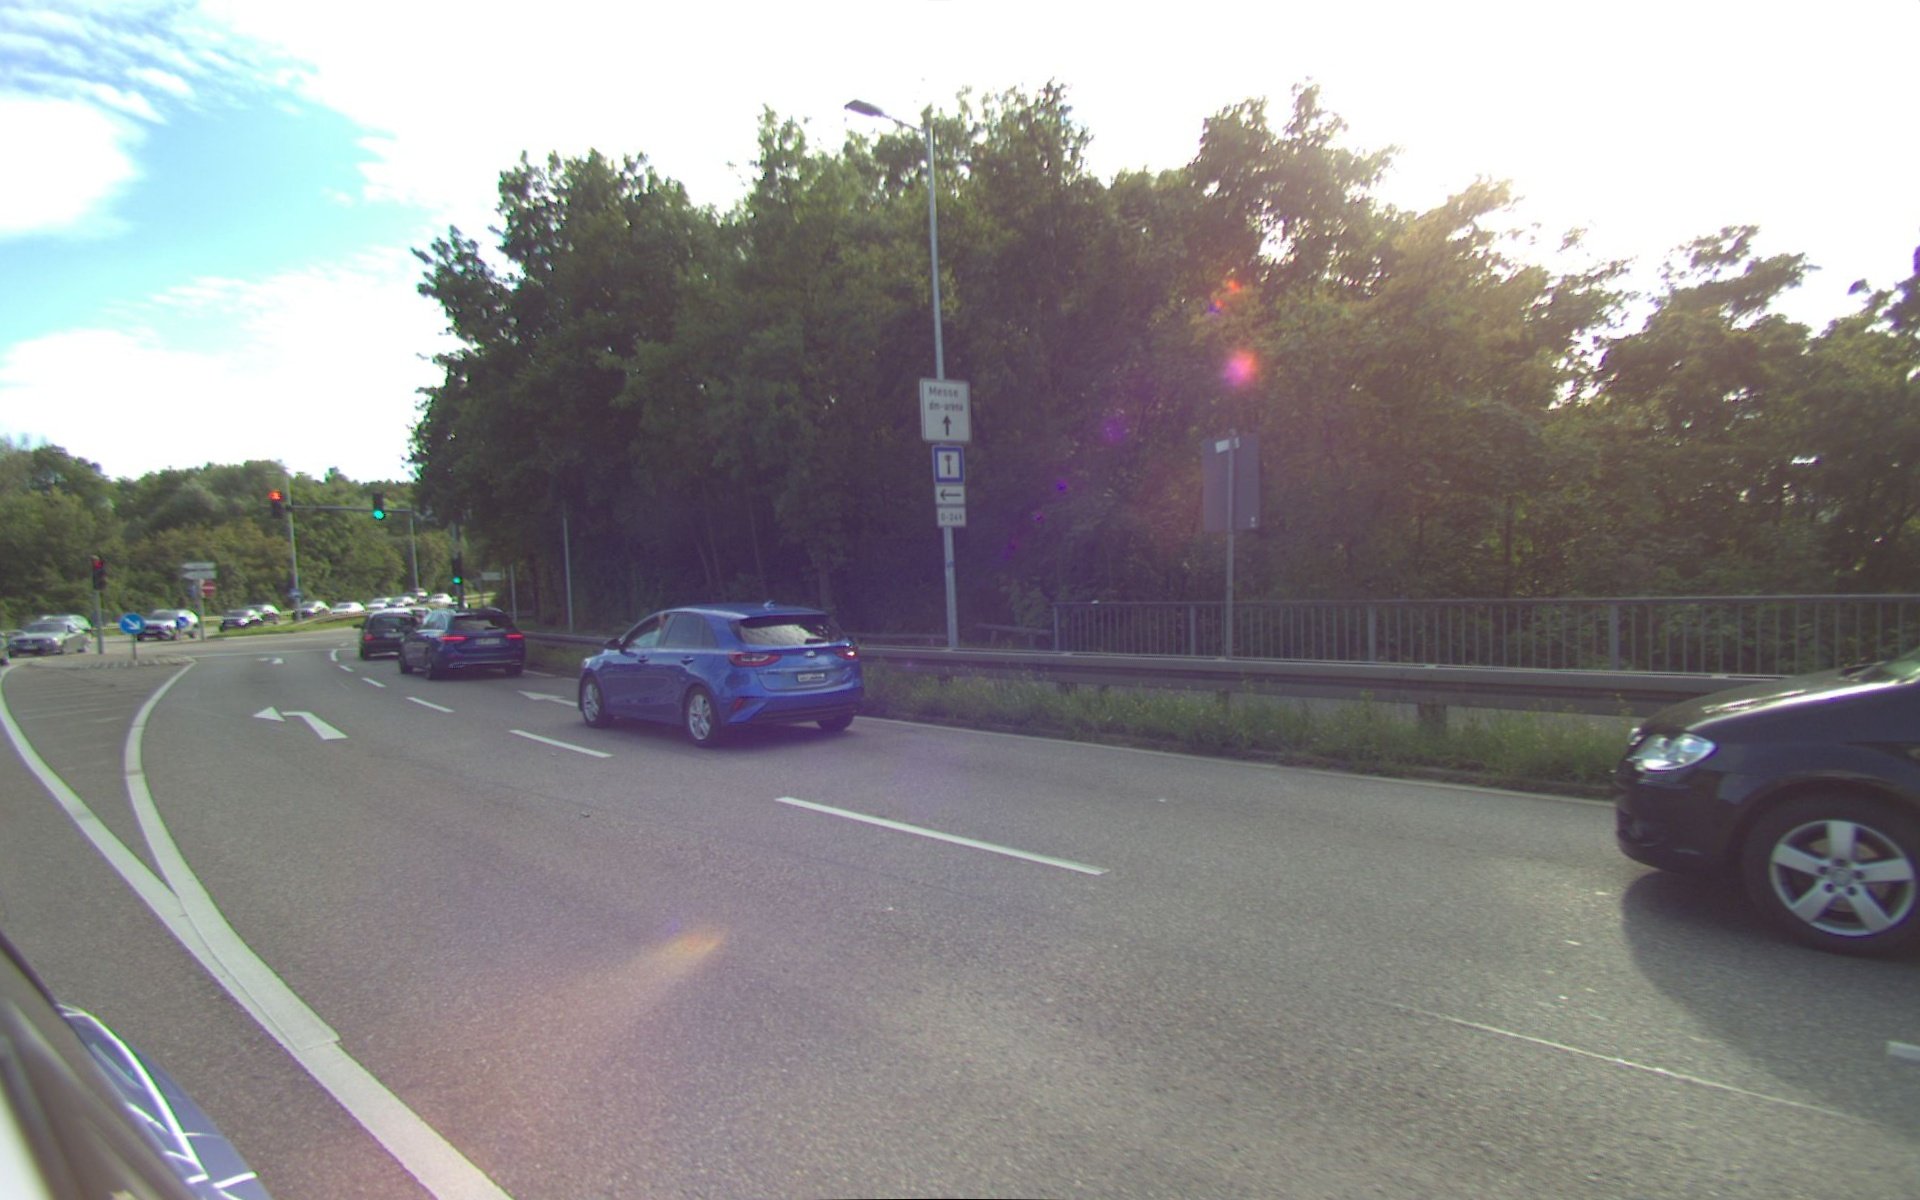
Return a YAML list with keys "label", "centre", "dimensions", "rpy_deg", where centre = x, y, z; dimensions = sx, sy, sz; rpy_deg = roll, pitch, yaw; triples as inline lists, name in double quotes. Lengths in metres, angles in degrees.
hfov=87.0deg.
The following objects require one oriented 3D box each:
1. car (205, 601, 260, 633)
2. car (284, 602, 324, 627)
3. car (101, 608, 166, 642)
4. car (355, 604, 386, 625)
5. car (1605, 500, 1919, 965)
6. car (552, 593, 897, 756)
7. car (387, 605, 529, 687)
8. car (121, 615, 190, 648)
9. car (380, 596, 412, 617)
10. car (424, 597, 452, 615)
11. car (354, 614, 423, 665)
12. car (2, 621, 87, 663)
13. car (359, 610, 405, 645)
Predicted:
- label: "car"
  centre: [-48.812, 1.125, 67.982]
  dimensions: [1.965, 2.029, 4.287]
  rpy_deg: [-2, 1, -22]
- label: "car"
  centre: [-57.426, 1.226, 88.628]
  dimensions: [1.966, 2.029, 4.013]
  rpy_deg: [-2, 1, -19]
- label: "car"
  centre: [-52.659, 1.572, 64.567]
  dimensions: [1.965, 2.029, 4.013]
  rpy_deg: [-2, 1, -20]
- label: "car"
  centre: [-60.150, 1.440, 103.348]
  dimensions: [1.966, 2.029, 4.013]
  rpy_deg: [-2, 1, -19]
- label: "car"
  centre: [4.955, 0.431, 3.403]
  dimensions: [4.452, 1.667, 1.727]
  rpy_deg: [-2, 0, 43]
- label: "car"
  centre: [-2.842, 0.719, 11.499]
  dimensions: [1.870, 1.458, 4.365]
  rpy_deg: [-2, 0, -43]
- label: "car"
  centre: [-10.989, 0.924, 21.967]
  dimensions: [1.791, 1.531, 4.774]
  rpy_deg: [-2, 0, -38]
- label: "car"
  centre: [-44.699, 1.719, 56.345]
  dimensions: [1.965, 1.612, 4.295]
  rpy_deg: [-2, 1, -24]
- label: "car"
  centre: [-55.550, 0.633, 99.688]
  dimensions: [1.966, 2.029, 4.012]
  rpy_deg: [-2, 1, -18]
- label: "car"
  centre: [-62.594, 0.714, 121.368]
  dimensions: [1.967, 2.029, 4.010]
  rpy_deg: [-2, 1, -13]
- label: "car"
  centre: [-17.122, 1.141, 30.238]
  dimensions: [1.602, 1.375, 3.784]
  rpy_deg: [-2, 0, -32]
- label: "car"
  centre: [-37.709, 1.693, 41.783]
  dimensions: [1.613, 1.564, 3.753]
  rpy_deg: [-2, 0, -27]
- label: "car"
  centre: [-27.568, 1.287, 48.396]
  dimensions: [1.789, 1.531, 4.842]
  rpy_deg: [-2, 0, -29]
